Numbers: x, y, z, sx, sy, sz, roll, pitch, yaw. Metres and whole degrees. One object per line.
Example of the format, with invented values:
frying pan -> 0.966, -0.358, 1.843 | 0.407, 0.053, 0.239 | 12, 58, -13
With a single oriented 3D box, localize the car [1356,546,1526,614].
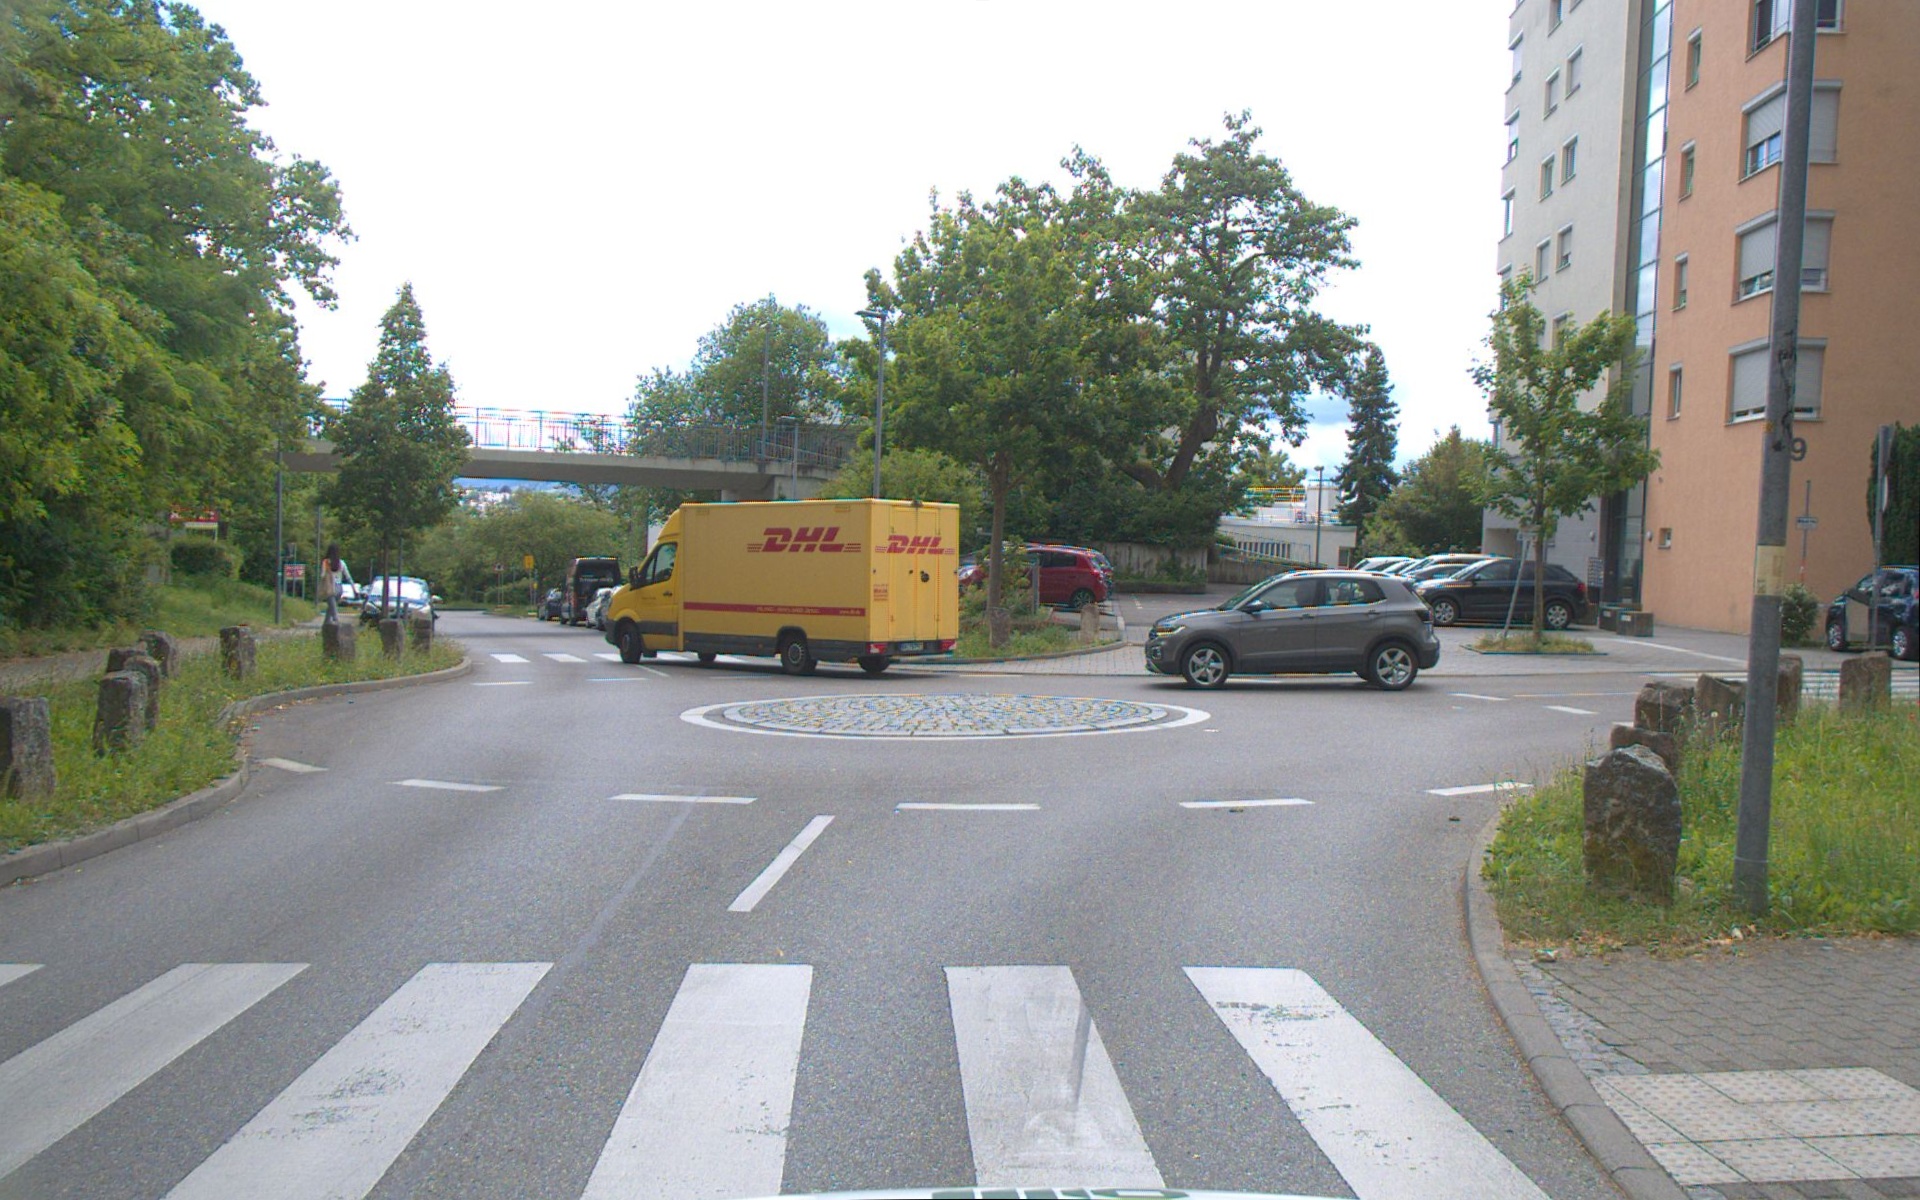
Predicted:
car -> 12.668, -0.522, 43.731 | 4.032, 1.621, 1.694 | 2, 1, 5

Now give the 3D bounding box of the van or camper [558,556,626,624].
van or camper -> -14.601, -0.373, 65.405 | 1.964, 2.567, 5.439 | -1, 0, -19

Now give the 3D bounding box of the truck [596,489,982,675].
truck -> -2.998, -0.294, 27.549 | 6.699, 2.749, 2.461 | 1, 0, 41

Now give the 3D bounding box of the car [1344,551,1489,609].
car -> 13.346, -0.596, 48.533 | 3.896, 1.544, 1.758 | 2, 1, 9

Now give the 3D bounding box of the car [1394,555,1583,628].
car -> 12.382, -0.216, 38.932 | 3.955, 1.544, 1.757 | 2, 1, 8

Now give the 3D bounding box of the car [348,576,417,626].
car -> -19.041, 0.022, 54.434 | 1.859, 1.535, 4.421 | 2, 0, -23

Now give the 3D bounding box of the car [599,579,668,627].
car -> -10.857, 0.086, 54.773 | 1.674, 1.523, 4.095 | 0, 0, -20

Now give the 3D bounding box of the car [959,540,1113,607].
car -> 1.834, -0.635, 39.938 | 3.574, 1.464, 1.685 | 2, 1, 3

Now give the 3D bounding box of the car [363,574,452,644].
car -> -13.167, 0.184, 39.291 | 1.761, 1.493, 3.974 | 2, 1, -22

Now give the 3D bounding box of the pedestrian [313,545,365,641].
pedestrian -> -11.585, -0.136, 30.885 | 0.723, 1.752, 0.659 | 2, 1, -7

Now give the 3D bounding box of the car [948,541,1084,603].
car -> 1.542, -0.766, 45.096 | 3.574, 1.524, 1.685 | 2, 1, 3

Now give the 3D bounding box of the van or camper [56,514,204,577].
van or camper -> -30.992, -2.020, 61.919 | 4.791, 2.122, 1.985 | 2, 1, -25

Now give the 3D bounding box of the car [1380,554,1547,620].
car -> 12.575, -0.331, 41.465 | 3.746, 1.484, 1.694 | 2, 1, 8

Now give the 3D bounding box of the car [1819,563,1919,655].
car -> 16.454, 0.120, 28.695 | 1.468, 1.502, 3.528 | 0, 1, 4

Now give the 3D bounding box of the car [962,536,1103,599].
car -> 2.054, -0.921, 47.383 | 3.905, 1.642, 1.945 | 2, 1, 0

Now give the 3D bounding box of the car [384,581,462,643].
car -> -14.281, 0.300, 43.950 | 1.856, 1.485, 3.528 | 2, 1, -18

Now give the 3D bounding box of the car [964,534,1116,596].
car -> 2.384, -1.049, 50.098 | 4.450, 1.697, 1.945 | 2, 1, 0

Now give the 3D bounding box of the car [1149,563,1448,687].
car -> 4.616, 0.324, 22.996 | 3.912, 1.646, 1.723 | 0, 0, 5
